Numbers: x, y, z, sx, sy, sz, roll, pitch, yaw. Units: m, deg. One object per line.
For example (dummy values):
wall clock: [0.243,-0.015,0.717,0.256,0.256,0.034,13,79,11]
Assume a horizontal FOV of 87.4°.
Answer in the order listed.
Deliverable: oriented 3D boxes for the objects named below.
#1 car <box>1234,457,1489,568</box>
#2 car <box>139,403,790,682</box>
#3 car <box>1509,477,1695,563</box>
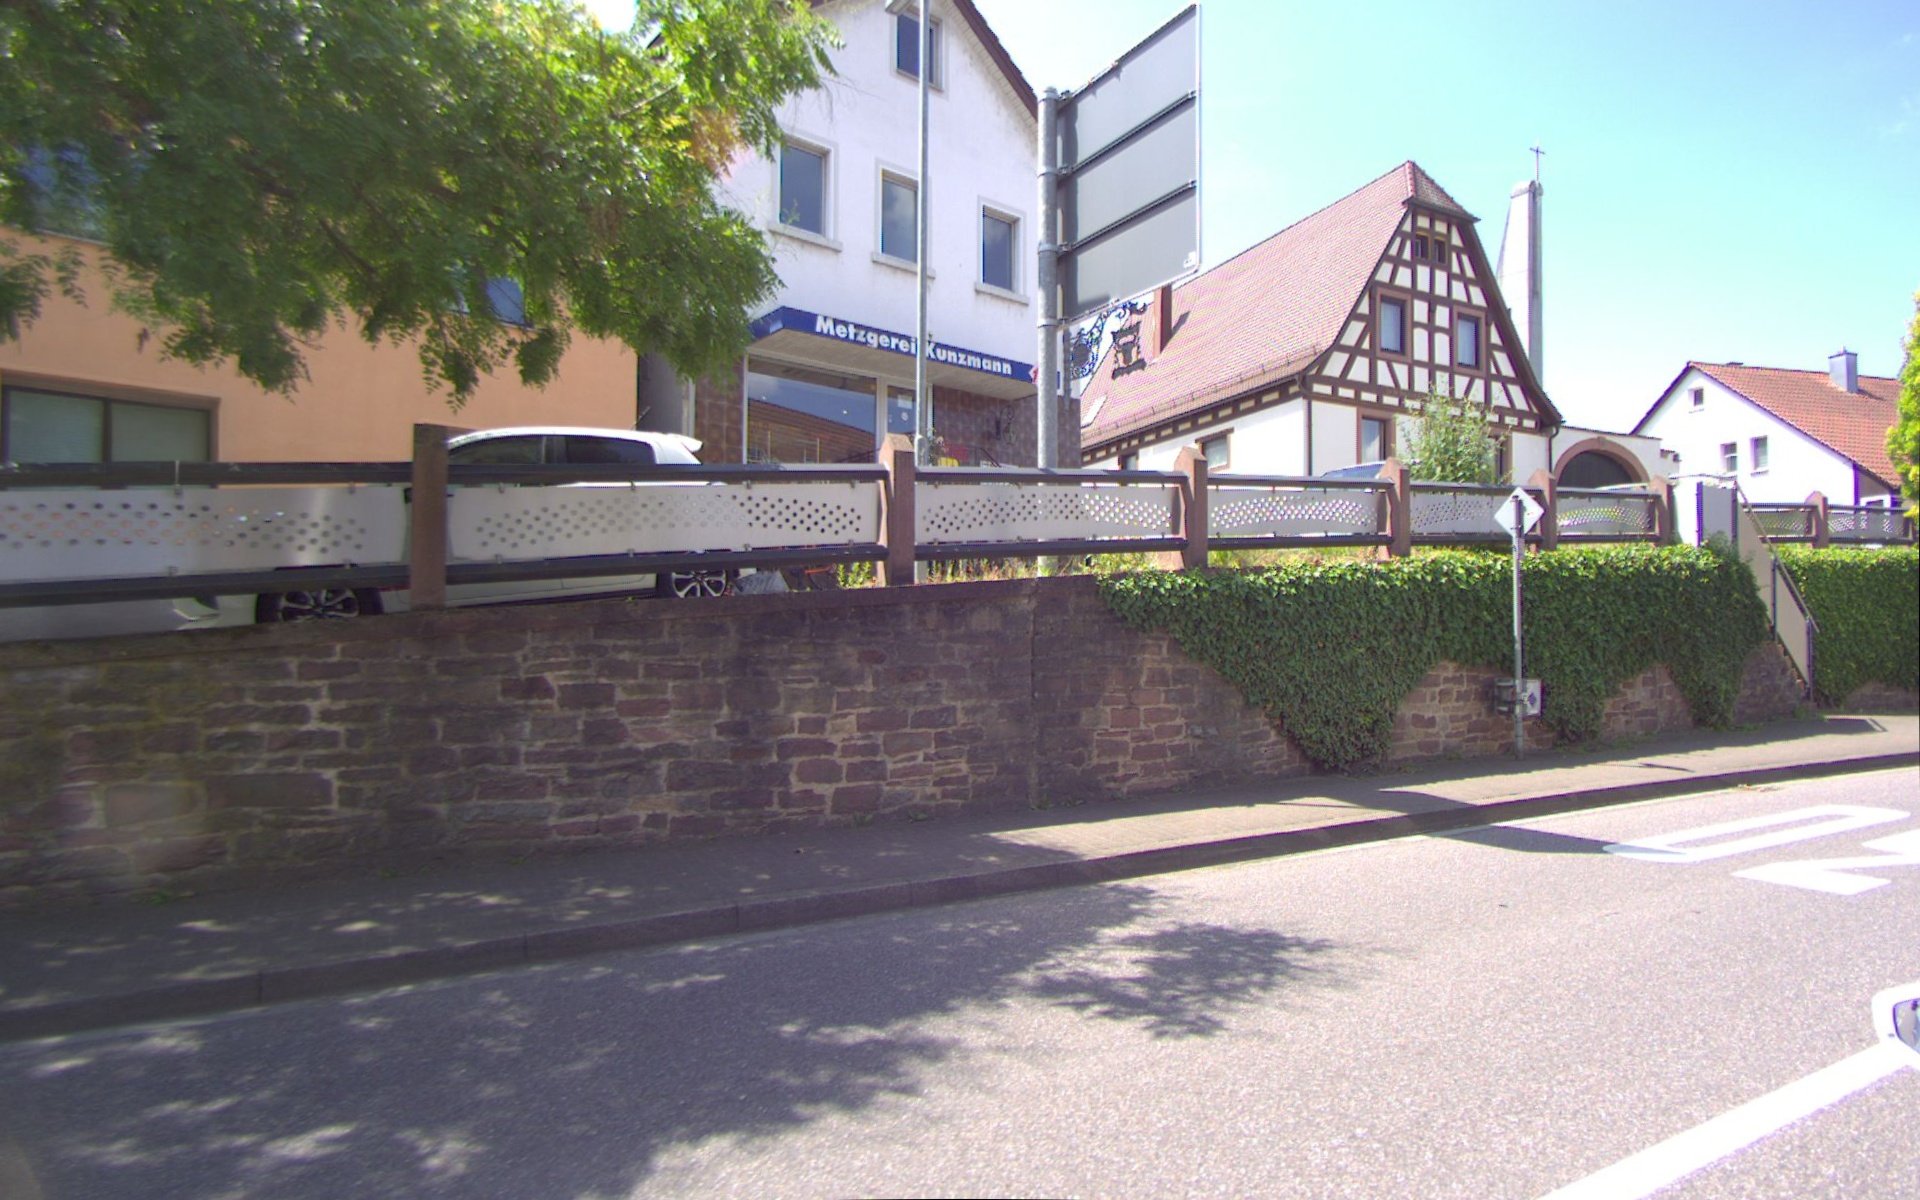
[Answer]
car: [5.948,-1.306,14.737,3.814,1.380,1.567,-5,2,-34]
car: [-3.401,-0.458,7.396,3.814,1.564,1.683,-5,2,-34]
car: [12.229,-1.532,19.069,3.814,1.380,1.567,-5,2,-34]
